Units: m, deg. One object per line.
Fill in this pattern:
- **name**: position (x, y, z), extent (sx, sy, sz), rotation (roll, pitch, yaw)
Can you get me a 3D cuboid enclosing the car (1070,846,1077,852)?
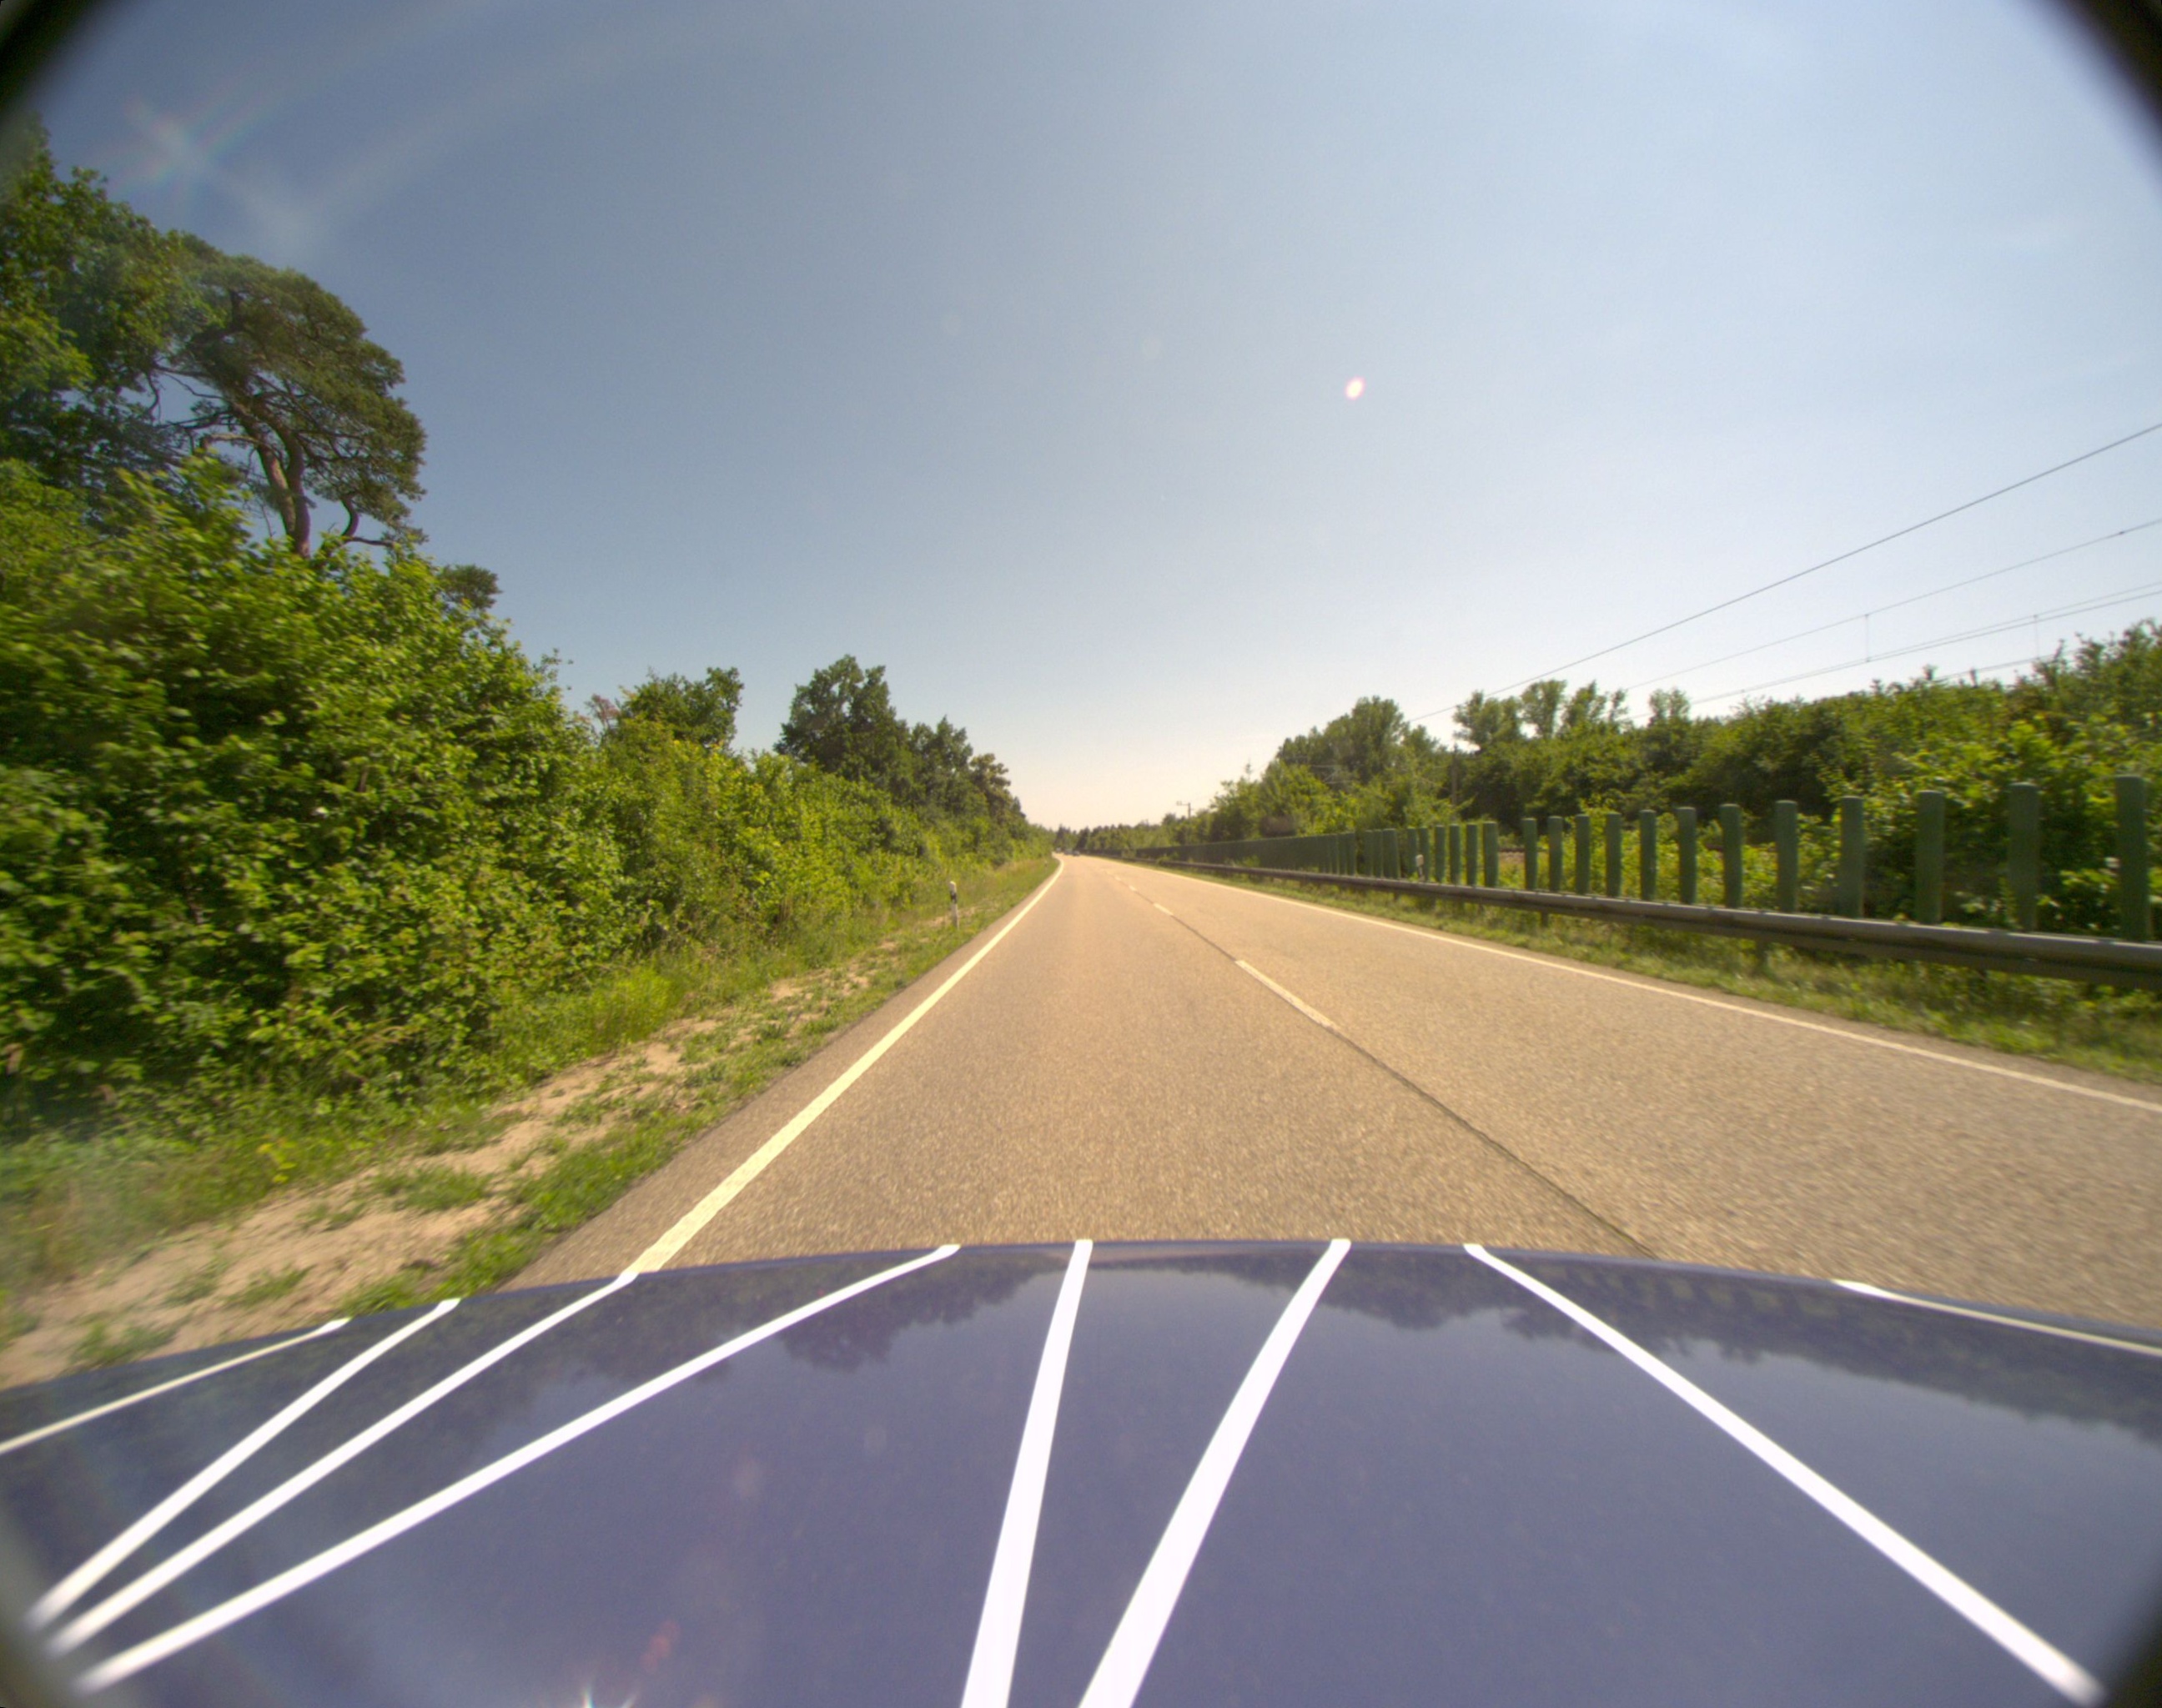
- **car**: position (-2.431, -1.620, 236.855), extent (1.762, 1.874, 4.532), rotation (-2, 1, -5)
